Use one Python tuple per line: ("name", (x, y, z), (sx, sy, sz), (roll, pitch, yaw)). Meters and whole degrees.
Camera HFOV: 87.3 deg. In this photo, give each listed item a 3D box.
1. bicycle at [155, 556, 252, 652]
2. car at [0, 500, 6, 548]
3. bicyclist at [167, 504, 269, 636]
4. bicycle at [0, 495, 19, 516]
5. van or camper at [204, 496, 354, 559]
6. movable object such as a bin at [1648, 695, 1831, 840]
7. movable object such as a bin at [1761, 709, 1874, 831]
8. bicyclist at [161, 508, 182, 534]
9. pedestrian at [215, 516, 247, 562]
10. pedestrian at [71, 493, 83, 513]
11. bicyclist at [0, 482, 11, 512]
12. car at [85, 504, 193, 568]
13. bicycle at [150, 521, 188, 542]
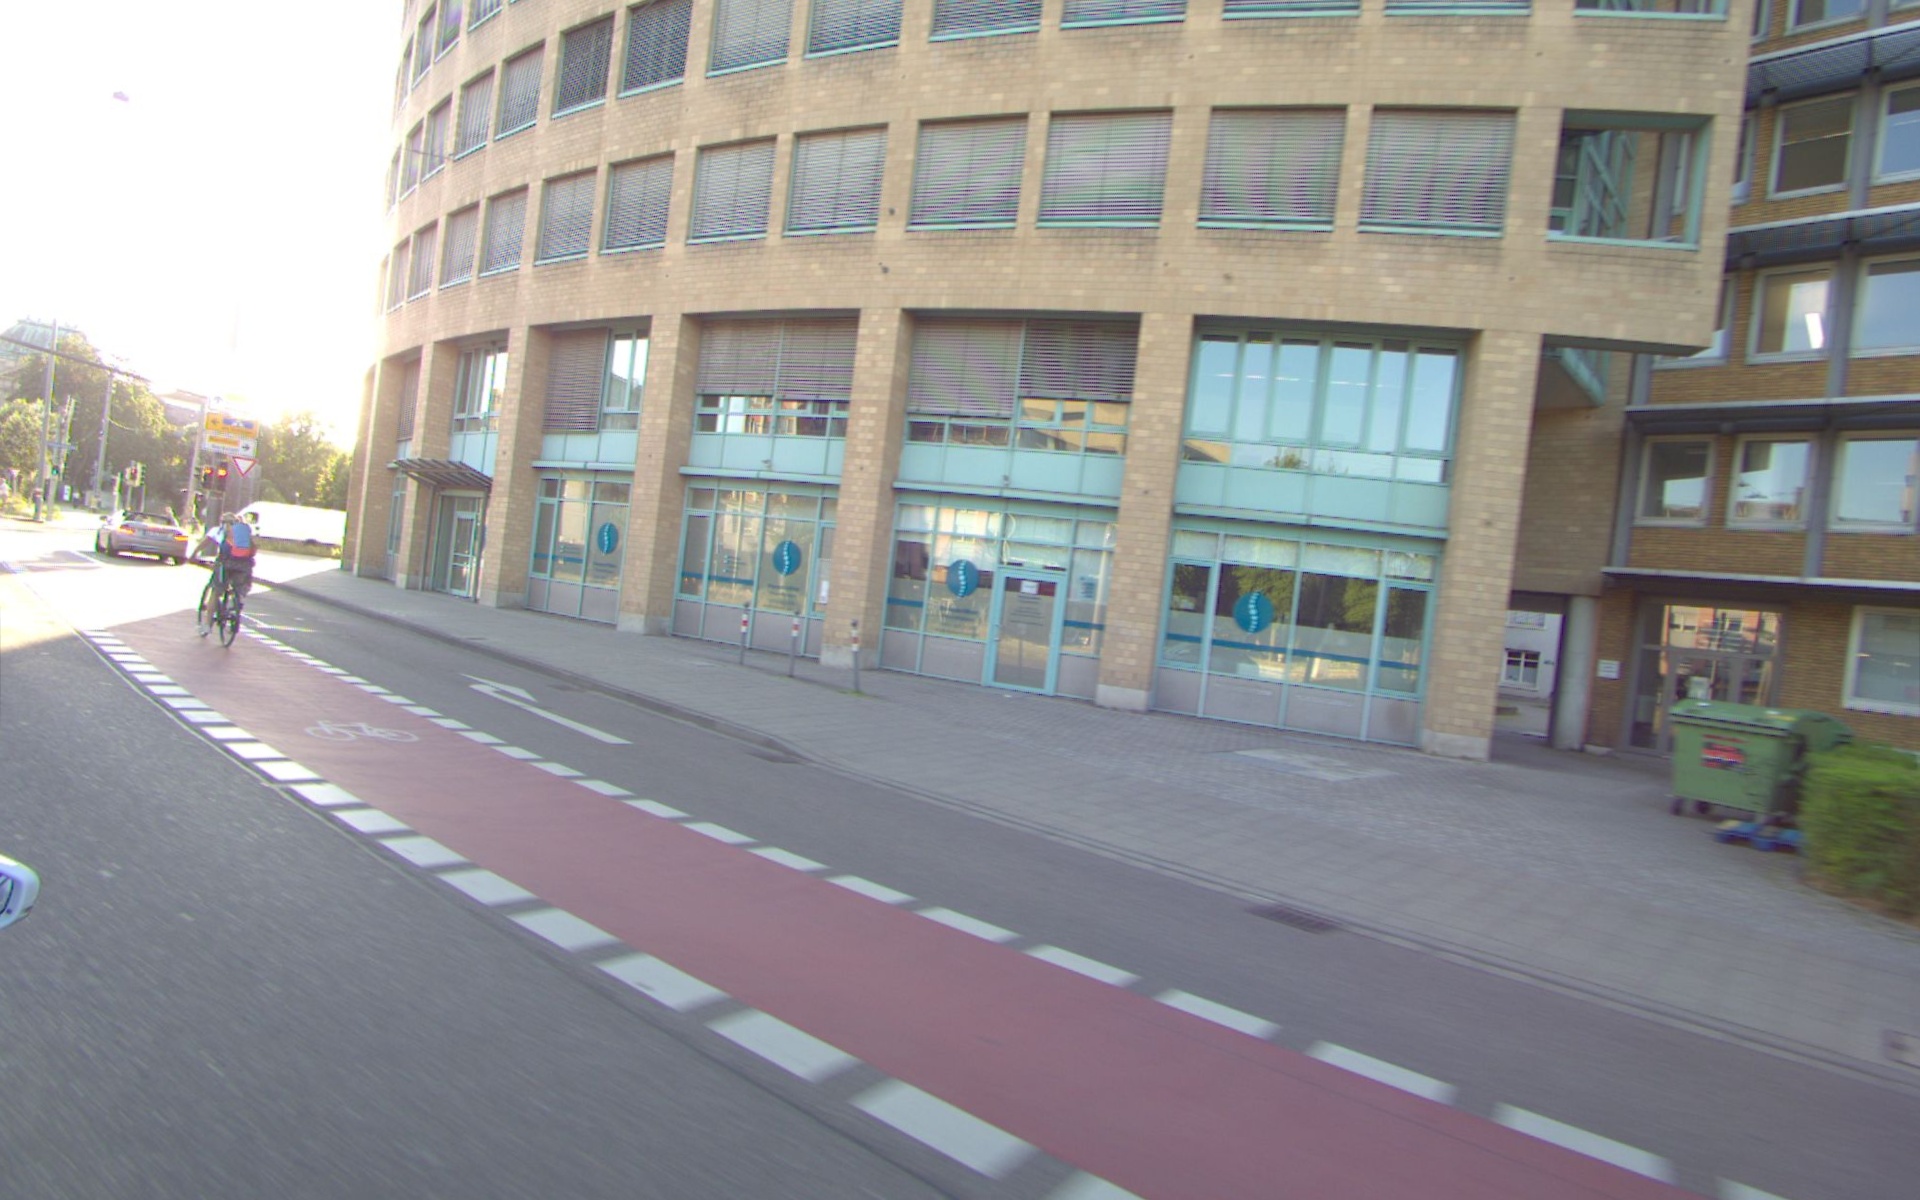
("bicycle", (-9.392, 0.030, 12.468), (1.750, 0.966, 0.514), (8, -1, 41))
("car", (-12.387, -0.676, 11.458), (4.577, 1.370, 1.828), (8, -1, 43))
("bicyclist", (-9.263, -0.382, 12.560), (1.023, 1.500, 0.655), (7, -1, 41))
("bicycle", (-53.279, -5.315, 55.640), (0.601, 0.982, 1.725), (9, 0, 44))
("van or camper", (-41.169, -4.351, 61.016), (2.564, 2.708, 7.025), (9, 1, 45))
("movable object such as a bin", (9.463, 2.011, 12.254), (0.963, 1.456, 1.335), (7, 1, -28))
("movable object such as a bin", (11.912, 2.322, 14.026), (0.909, 1.442, 1.341), (9, 1, 35))
("bicyclist", (-48.605, -4.875, 61.994), (0.848, 1.460, 0.656), (7, 2, -35))
("pedestrian", (-27.478, -2.307, 37.925), (0.788, 1.589, 0.676), (9, 2, 41))
("pedestrian", (-80.435, -8.841, 91.645), (0.604, 1.631, 0.680), (9, 2, 43))
("bicyclist", (-53.159, -5.750, 55.697), (0.654, 1.591, 0.795), (9, 2, 45))
("car", (-24.294, -1.912, 29.703), (4.207, 1.370, 1.781), (8, -1, 42))
("bicycle", (-48.713, -4.238, 62.006), (1.708, 0.982, 0.603), (9, 0, -34))
